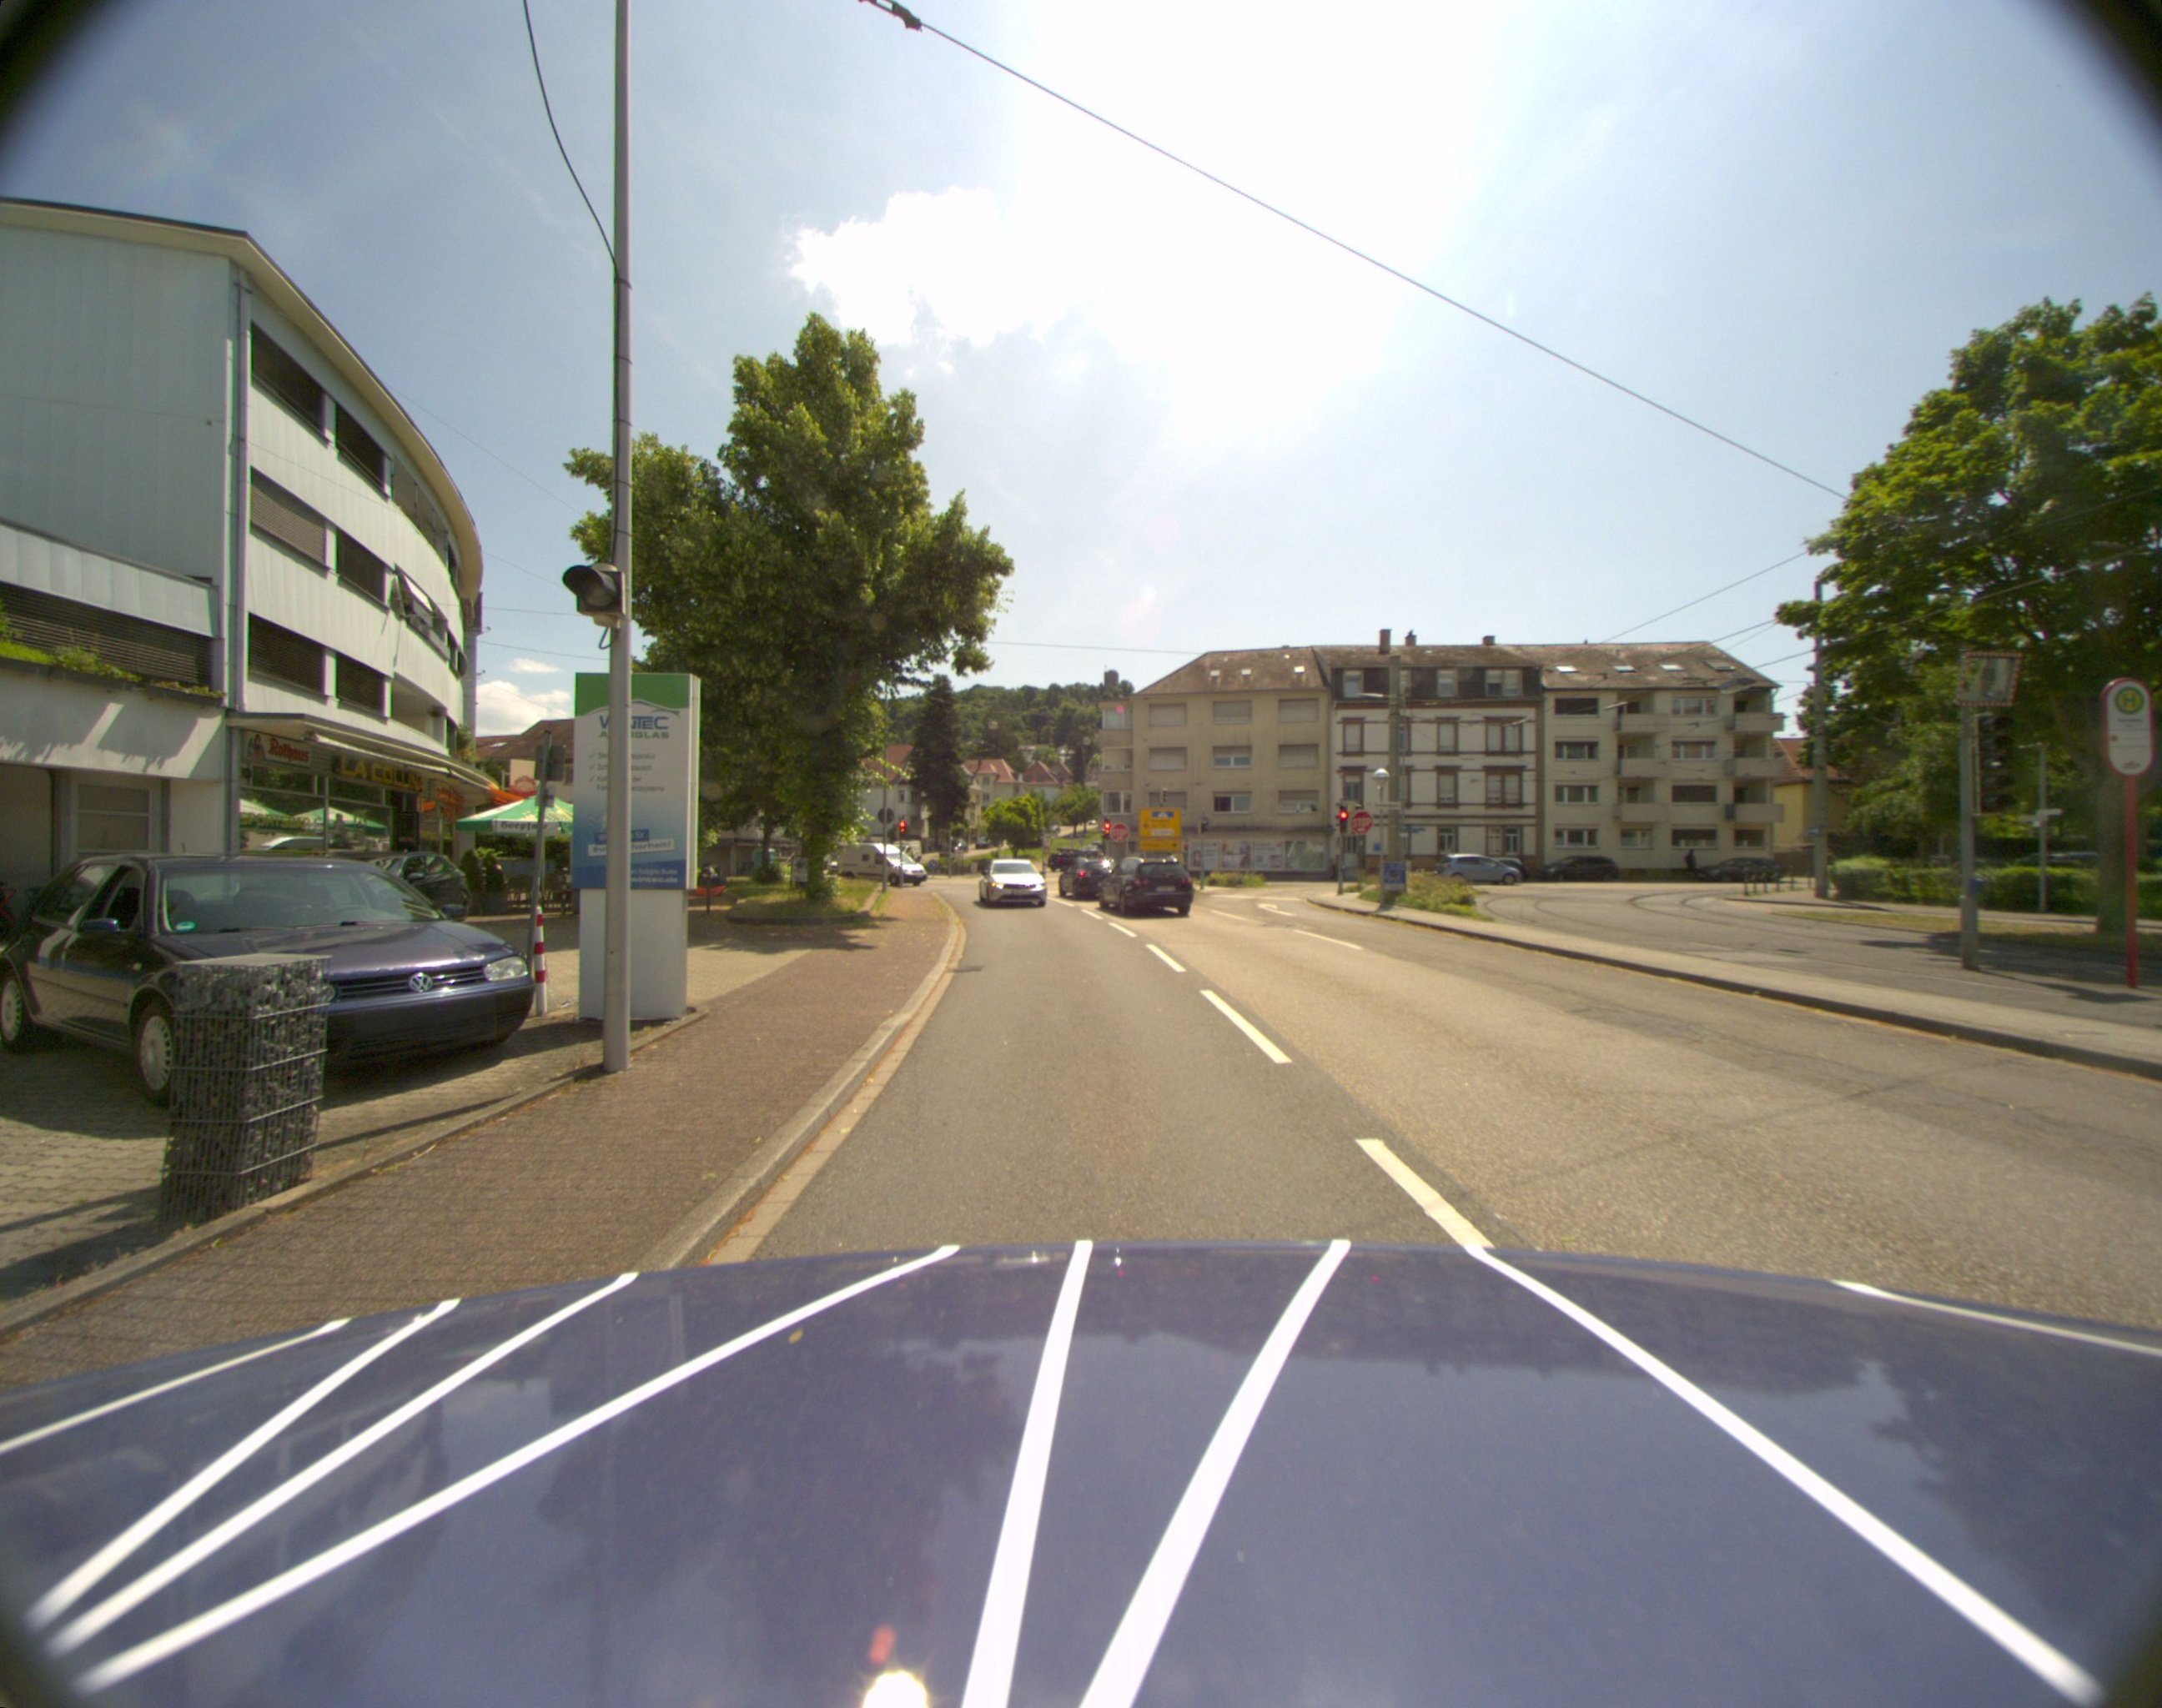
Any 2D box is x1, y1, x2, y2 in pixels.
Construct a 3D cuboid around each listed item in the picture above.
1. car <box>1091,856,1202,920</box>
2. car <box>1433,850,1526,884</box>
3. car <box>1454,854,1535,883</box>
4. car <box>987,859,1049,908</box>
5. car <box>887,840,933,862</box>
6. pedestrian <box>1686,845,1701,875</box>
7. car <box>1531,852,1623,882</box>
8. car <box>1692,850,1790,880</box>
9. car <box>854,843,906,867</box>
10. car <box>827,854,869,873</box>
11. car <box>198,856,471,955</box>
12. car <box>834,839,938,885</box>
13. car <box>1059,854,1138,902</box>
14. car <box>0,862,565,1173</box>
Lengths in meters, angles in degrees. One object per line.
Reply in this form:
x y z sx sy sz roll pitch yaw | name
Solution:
1.657 0.822 21.025 1.842 1.482 4.807 -1 1 -10 | car
21.020 0.673 40.257 3.994 1.609 1.761 -2 1 9 | car
24.763 0.836 45.636 3.755 1.576 2.000 -2 1 3 | car
-2.087 0.869 24.615 1.819 1.371 4.389 -1 0 -6 | car
-17.069 -0.347 76.107 2.398 2.002 5.385 -2 1 11 | car
37.417 0.353 46.432 0.556 1.846 0.428 -2 2 3 | pedestrian
29.386 0.751 45.112 4.066 1.576 2.000 -2 1 3 | car
38.491 0.641 44.418 4.066 1.576 1.814 -2 1 3 | car
-18.297 0.073 69.556 2.398 2.002 5.385 -2 1 11 | car
-19.492 0.768 63.815 1.530 1.361 4.159 -2 1 12 | car
-12.770 0.766 13.421 1.715 1.392 4.276 -1 1 -19 | car
-10.282 0.442 39.966 5.430 2.258 2.003 -1 1 32 | car
0.527 0.798 27.344 1.842 1.482 4.122 -2 1 -13 | car
-5.733 0.816 5.291 3.963 1.420 1.703 1 0 24 | car
